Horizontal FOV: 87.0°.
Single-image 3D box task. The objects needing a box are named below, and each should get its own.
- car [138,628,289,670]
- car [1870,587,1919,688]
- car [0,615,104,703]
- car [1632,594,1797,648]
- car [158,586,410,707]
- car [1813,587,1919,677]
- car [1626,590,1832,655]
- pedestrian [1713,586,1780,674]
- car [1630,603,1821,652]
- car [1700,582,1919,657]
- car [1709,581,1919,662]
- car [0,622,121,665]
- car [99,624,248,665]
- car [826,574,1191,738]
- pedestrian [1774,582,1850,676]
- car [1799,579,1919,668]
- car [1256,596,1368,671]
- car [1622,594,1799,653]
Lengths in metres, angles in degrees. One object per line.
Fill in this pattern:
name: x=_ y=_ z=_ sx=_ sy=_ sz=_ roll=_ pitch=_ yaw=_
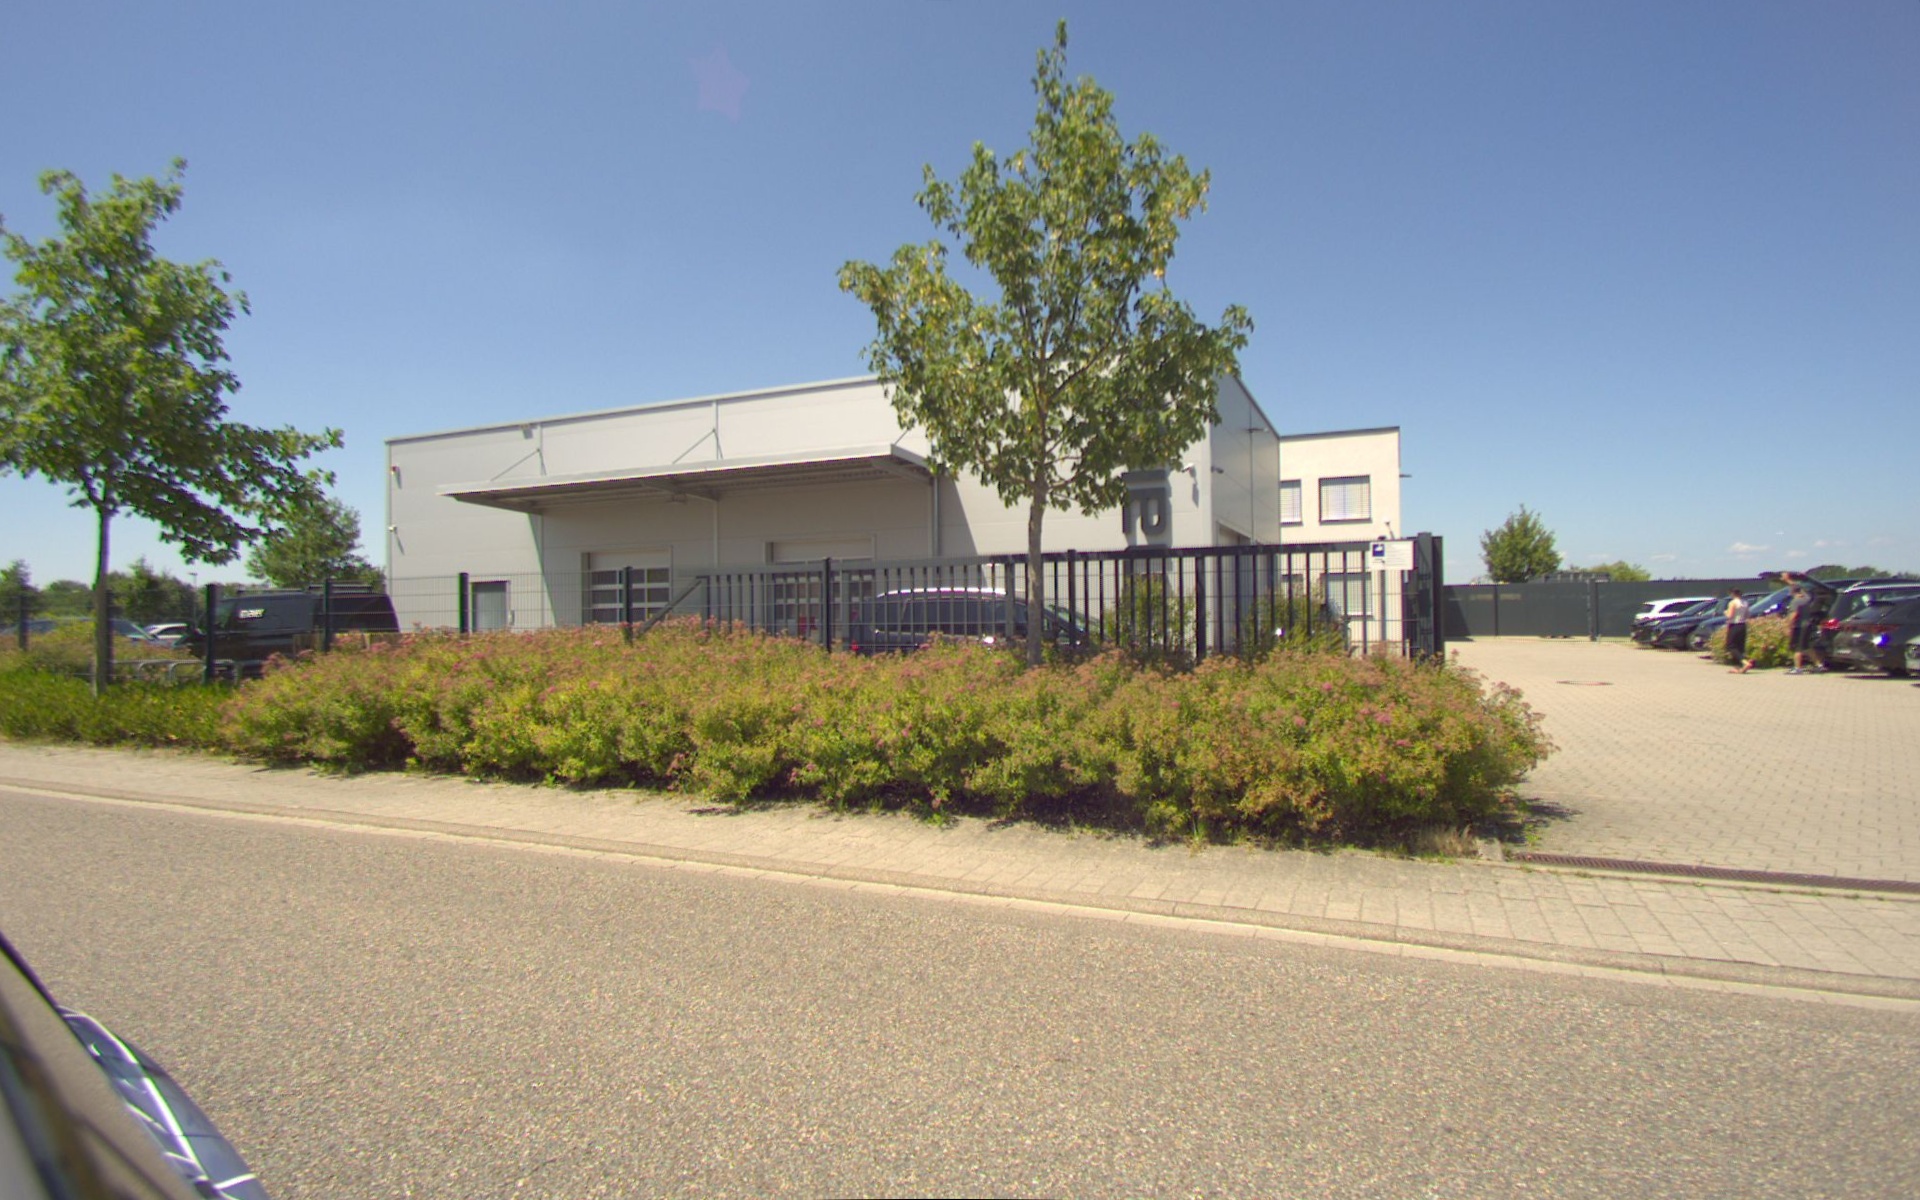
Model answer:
car: x=-27.230 y=1.759 z=37.056 sx=1.869 sy=1.361 sz=4.088 roll=-2 pitch=-1 yaw=23
car: x=15.821 y=0.498 z=14.313 sx=3.973 sy=1.451 sz=1.665 roll=-2 pitch=-1 yaw=22
car: x=-20.629 y=1.233 z=21.734 sx=4.069 sy=1.736 sz=1.982 roll=-1 pitch=-1 yaw=26
car: x=24.736 y=0.705 z=33.373 sx=3.977 sy=1.696 sz=1.983 roll=-1 pitch=-1 yaw=25
car: x=-13.211 y=0.856 z=19.755 sx=4.668 sy=2.114 sz=1.990 roll=-2 pitch=0 yaw=26
car: x=16.924 y=0.504 z=16.701 sx=3.973 sy=1.451 sz=1.665 roll=-2 pitch=-1 yaw=22
car: x=20.210 y=0.605 z=26.809 sx=3.973 sy=1.617 sz=1.665 roll=-1 pitch=-1 yaw=22
pedestrian: x=15.070 y=0.567 z=19.409 sx=0.767 sy=1.641 sz=0.619 roll=-1 pitch=-1 yaw=10
car: x=21.827 y=0.783 z=29.062 sx=3.977 sy=1.320 sz=1.983 roll=-1 pitch=-1 yaw=25
car: x=19.668 y=0.452 z=23.225 sx=3.973 sy=1.617 sz=1.665 roll=-1 pitch=-1 yaw=22
car: x=18.575 y=0.466 z=21.455 sx=3.973 sy=1.618 sz=1.665 roll=-2 pitch=-2 yaw=22
car: x=-36.787 y=1.744 z=41.468 sx=1.468 sy=1.596 sz=3.456 roll=-2 pitch=-1 yaw=23
car: x=-29.635 y=1.665 z=38.279 sx=1.869 sy=1.361 sz=4.088 roll=-2 pitch=-1 yaw=23
car: x=0.598 y=0.641 z=12.516 sx=4.069 sy=1.736 sz=1.982 roll=-1 pitch=-1 yaw=26
pedestrian: x=15.869 y=0.537 z=18.873 sx=0.822 sy=1.695 sz=0.708 roll=-1 pitch=-1 yaw=16
car: x=18.457 y=0.423 z=18.849 sx=3.973 sy=1.618 sz=1.665 roll=-2 pitch=-1 yaw=22
car: x=7.525 y=0.659 z=21.410 sx=1.788 sy=1.431 sz=3.836 roll=-1 pitch=-1 yaw=26
car: x=22.881 y=0.718 z=31.050 sx=3.977 sy=1.696 sz=1.983 roll=-1 pitch=-1 yaw=25
